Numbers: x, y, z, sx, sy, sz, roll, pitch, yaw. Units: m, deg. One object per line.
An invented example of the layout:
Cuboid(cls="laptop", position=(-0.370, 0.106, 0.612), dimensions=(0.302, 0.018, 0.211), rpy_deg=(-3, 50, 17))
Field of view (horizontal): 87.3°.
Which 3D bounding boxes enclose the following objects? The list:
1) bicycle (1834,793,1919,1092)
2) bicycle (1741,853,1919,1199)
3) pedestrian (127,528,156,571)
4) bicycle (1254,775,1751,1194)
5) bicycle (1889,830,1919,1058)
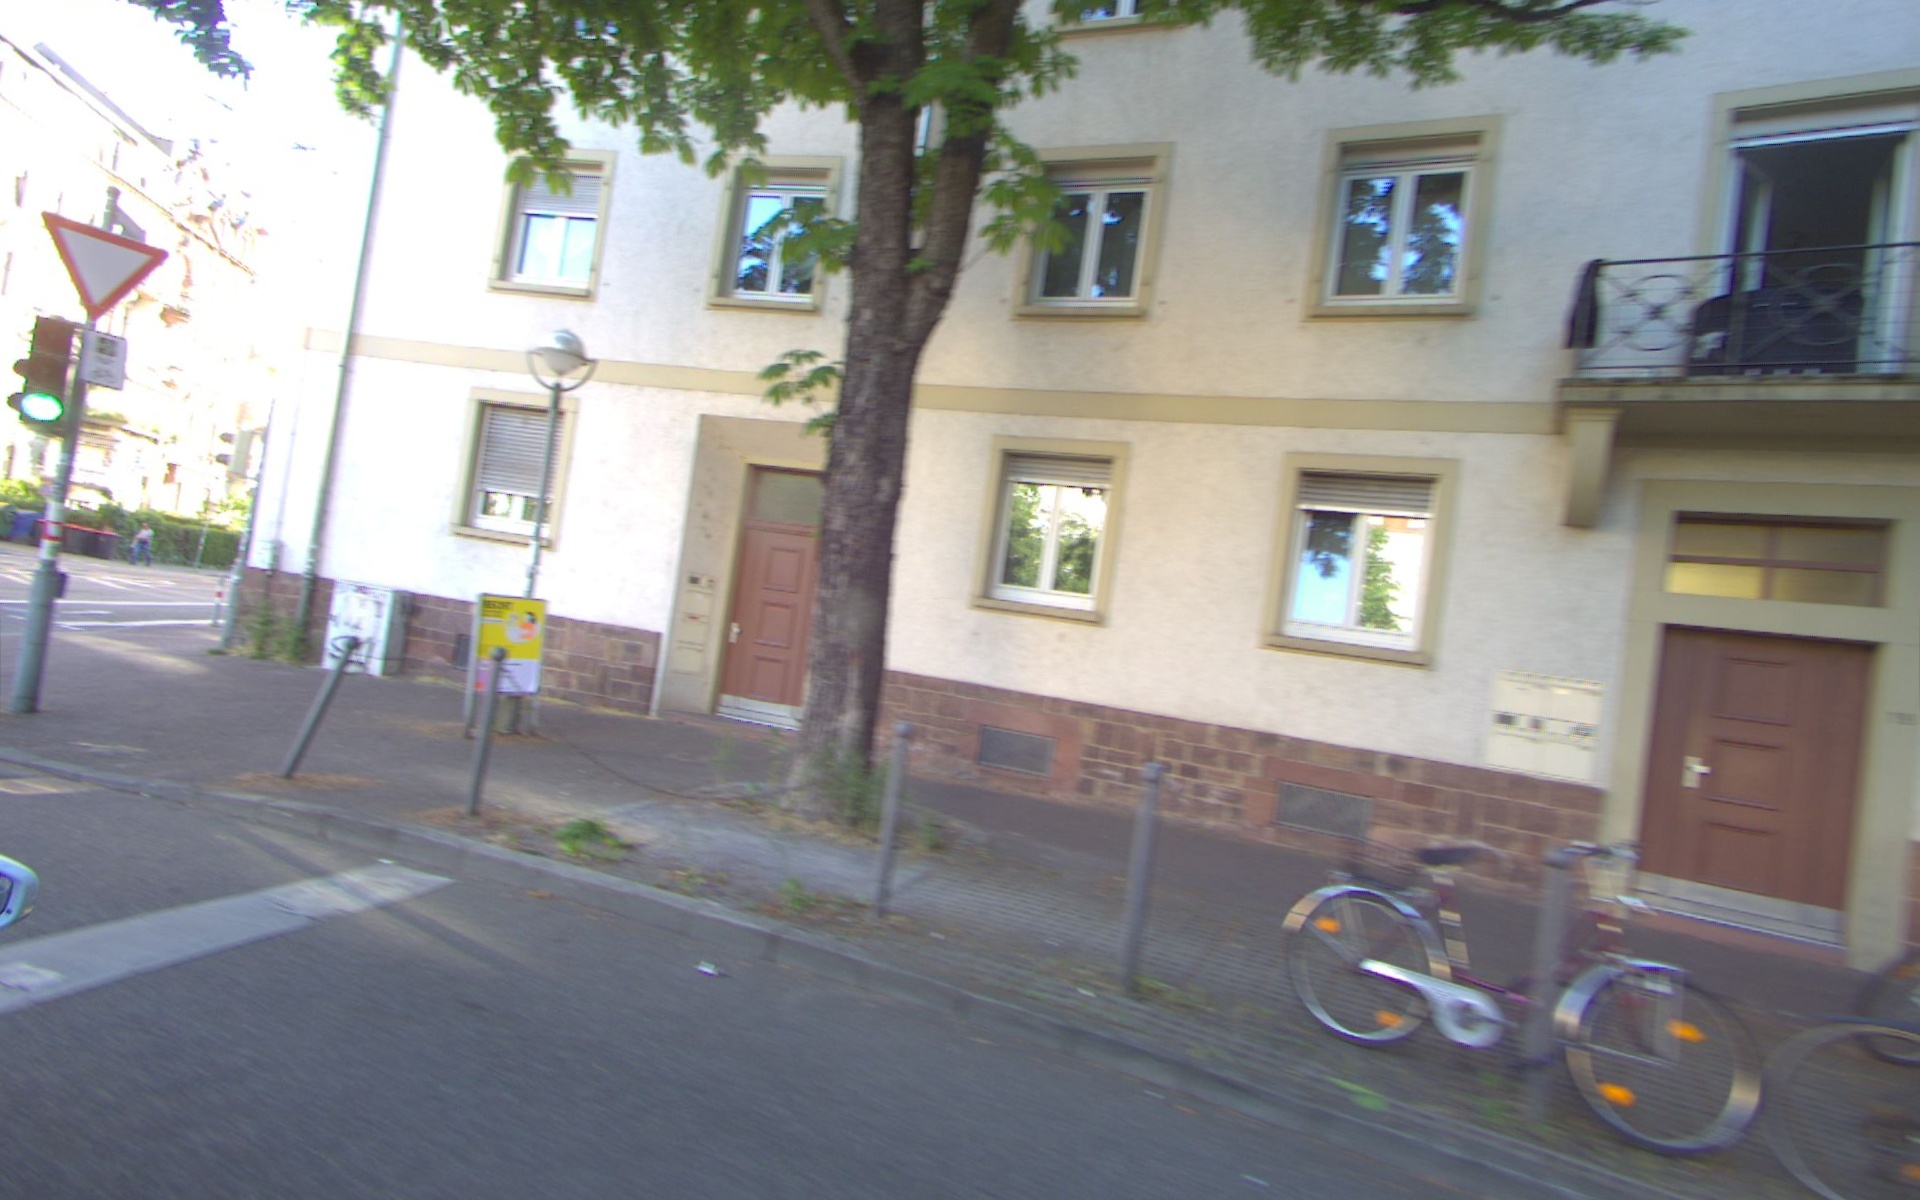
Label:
Cuboid(cls="bicycle", position=(5.184, 1.692, 4.401), dimensions=(1.939, 1.292, 0.716), rpy_deg=(6, -2, 42))
Cuboid(cls="bicycle", position=(3.513, 1.559, 3.035), dimensions=(1.715, 1.121, 0.525), rpy_deg=(7, 0, 38))
Cuboid(cls="pedestrian", position=(-33.308, -2.046, 40.960), dimensions=(0.516, 1.659, 0.496), rpy_deg=(8, -2, 0))
Cuboid(cls="bicycle", position=(2.124, 1.420, 4.096), dimensions=(1.612, 1.077, 0.480), rpy_deg=(7, 0, 40))
Cuboid(cls="bicycle", position=(5.775, 1.872, 4.751), dimensions=(1.940, 1.119, 0.667), rpy_deg=(6, -4, 43))
